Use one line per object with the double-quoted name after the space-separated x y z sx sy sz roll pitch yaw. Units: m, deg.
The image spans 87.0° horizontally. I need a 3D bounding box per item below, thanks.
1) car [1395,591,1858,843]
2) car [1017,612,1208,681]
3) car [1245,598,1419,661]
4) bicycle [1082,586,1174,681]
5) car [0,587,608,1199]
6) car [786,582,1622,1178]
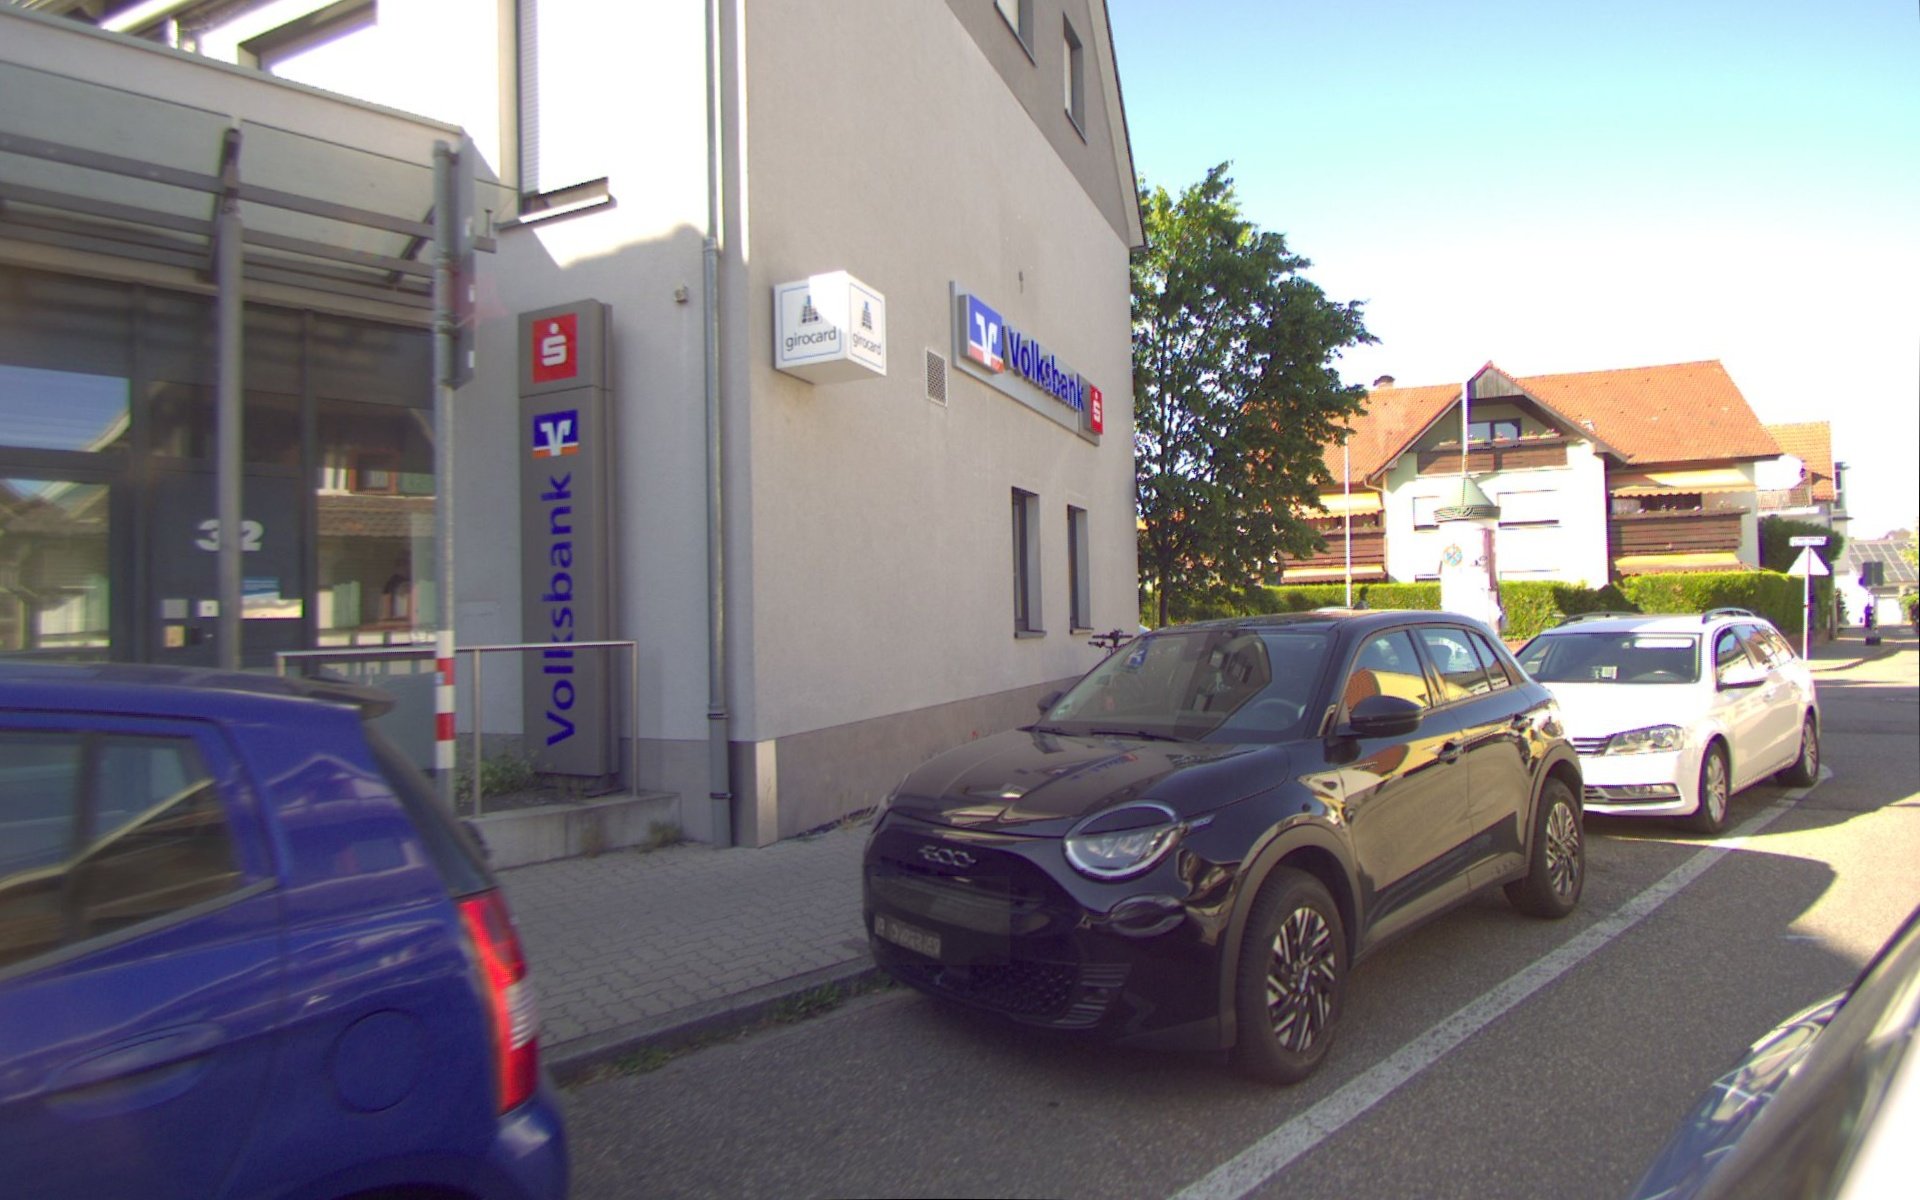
5.594 0.733 8.277 4.424 1.533 1.850 0 -2 -39 "car"
3.626 1.075 24.541 4.283 1.513 1.788 -1 -1 40 "car"
10.447 0.797 28.534 4.276 1.613 1.792 -1 0 35 "car"
1.833 0.357 11.181 0.313 0.988 1.227 0 -1 -27 "bicycle"
-2.645 0.779 1.274 3.807 1.494 1.728 0 -3 -40 "car"
1.348 0.754 4.533 3.901 1.540 1.612 0 -3 -41 "car"
